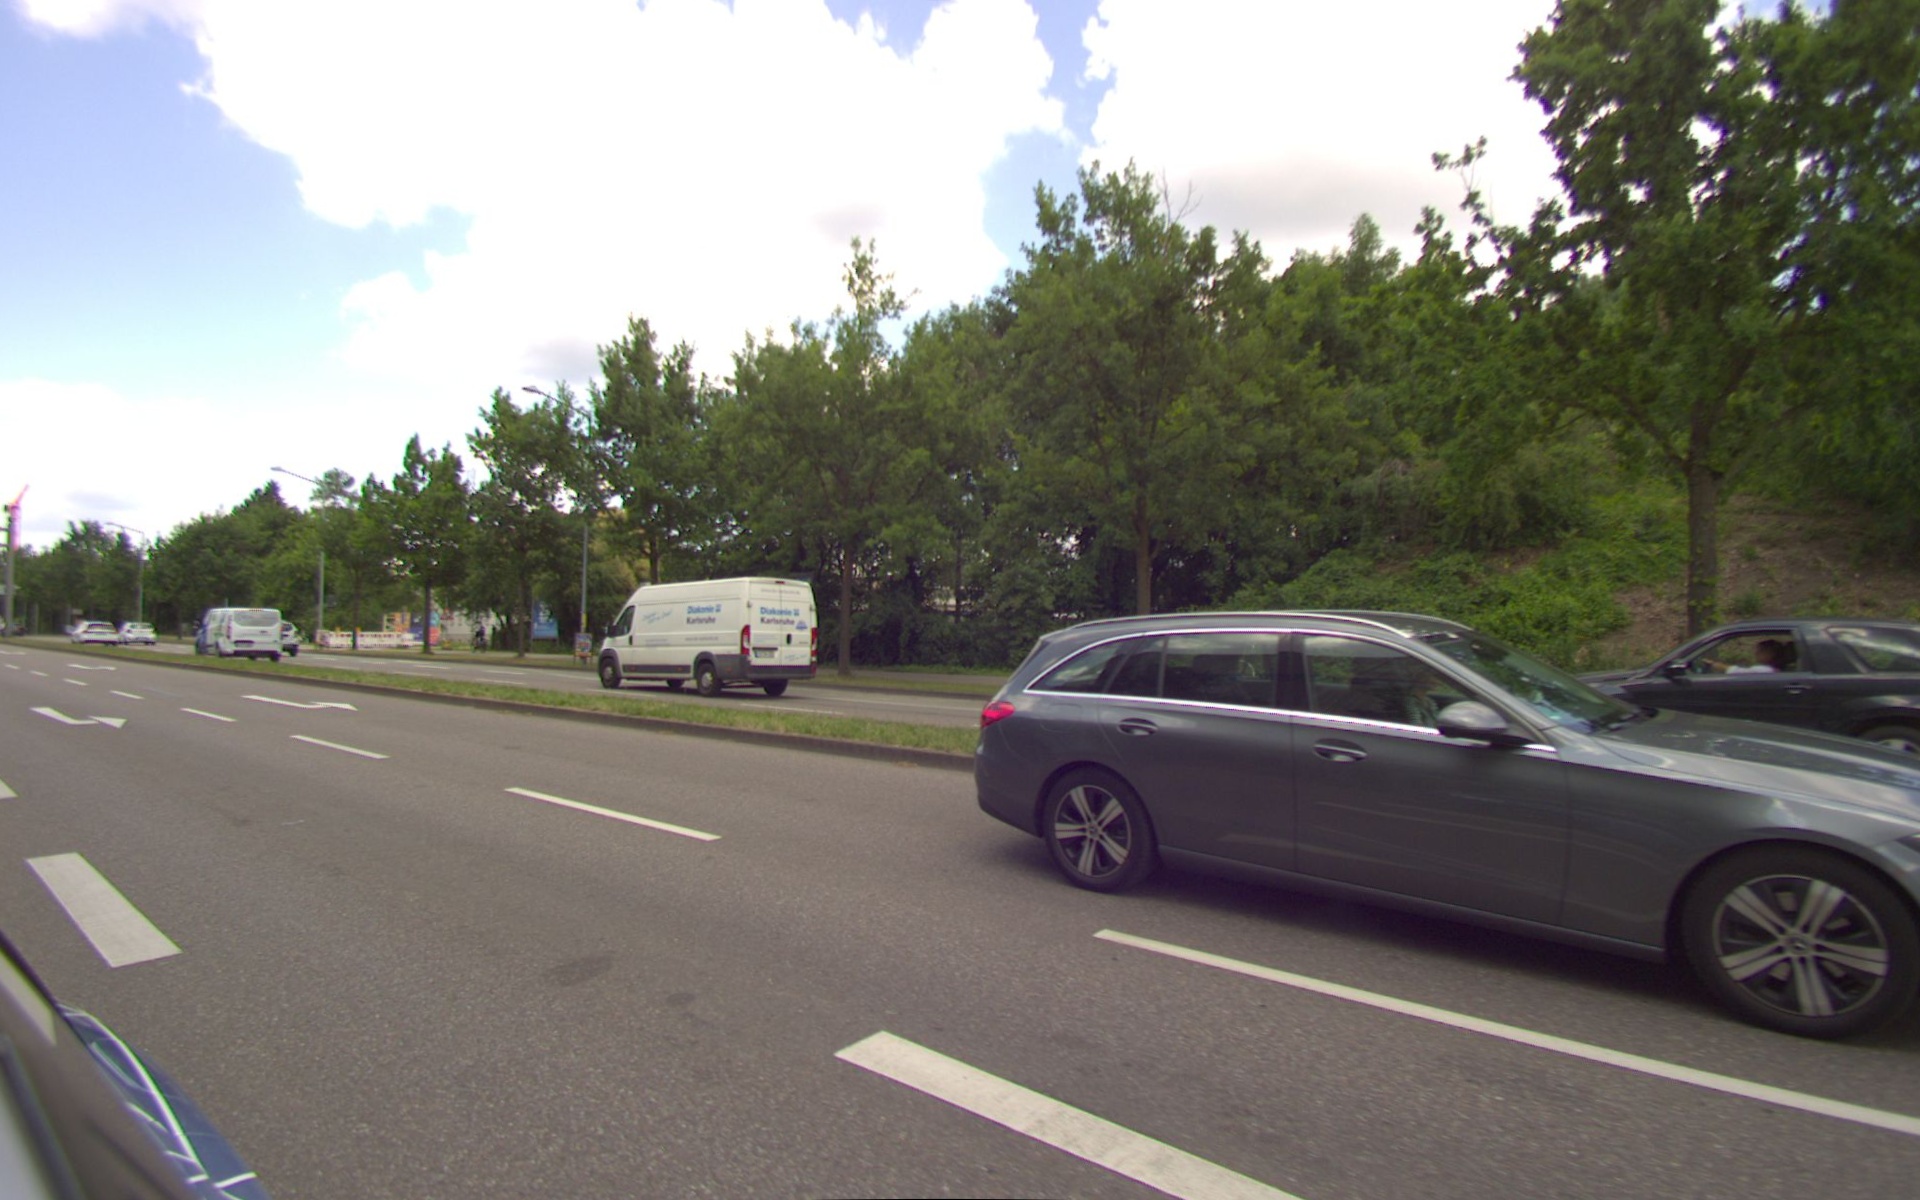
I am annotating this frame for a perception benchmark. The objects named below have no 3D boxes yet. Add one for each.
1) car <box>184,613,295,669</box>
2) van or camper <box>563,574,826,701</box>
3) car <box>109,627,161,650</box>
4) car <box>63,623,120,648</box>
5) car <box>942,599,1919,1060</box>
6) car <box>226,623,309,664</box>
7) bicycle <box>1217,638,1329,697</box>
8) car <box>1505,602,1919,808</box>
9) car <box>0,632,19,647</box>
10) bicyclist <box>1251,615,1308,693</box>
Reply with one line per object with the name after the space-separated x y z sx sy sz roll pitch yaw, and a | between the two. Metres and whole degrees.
-27.315 1.557 38.309 5.189 1.979 2.168 -2 -3 40 | car
-6.370 0.848 23.598 7.059 2.559 2.328 -2 -2 40 | van or camper
-55.694 2.608 68.274 4.412 1.454 1.894 -1 -5 41 | car
-52.566 2.118 61.215 5.022 1.442 1.972 -1 -3 42 | car
2.351 0.757 5.013 4.830 1.426 1.972 -2 -2 41 | car
-32.528 2.013 47.491 4.403 1.815 1.974 -1 -3 38 | car
7.309 1.544 23.715 2.393 1.280 0.813 -1 -1 42 | bicycle
8.083 0.962 10.220 4.217 1.780 1.973 -1 -3 41 | car
-98.586 4.077 104.178 4.907 1.528 1.939 -2 -3 41 | car
7.441 1.232 23.574 0.997 1.760 0.883 -1 -1 42 | bicyclist
